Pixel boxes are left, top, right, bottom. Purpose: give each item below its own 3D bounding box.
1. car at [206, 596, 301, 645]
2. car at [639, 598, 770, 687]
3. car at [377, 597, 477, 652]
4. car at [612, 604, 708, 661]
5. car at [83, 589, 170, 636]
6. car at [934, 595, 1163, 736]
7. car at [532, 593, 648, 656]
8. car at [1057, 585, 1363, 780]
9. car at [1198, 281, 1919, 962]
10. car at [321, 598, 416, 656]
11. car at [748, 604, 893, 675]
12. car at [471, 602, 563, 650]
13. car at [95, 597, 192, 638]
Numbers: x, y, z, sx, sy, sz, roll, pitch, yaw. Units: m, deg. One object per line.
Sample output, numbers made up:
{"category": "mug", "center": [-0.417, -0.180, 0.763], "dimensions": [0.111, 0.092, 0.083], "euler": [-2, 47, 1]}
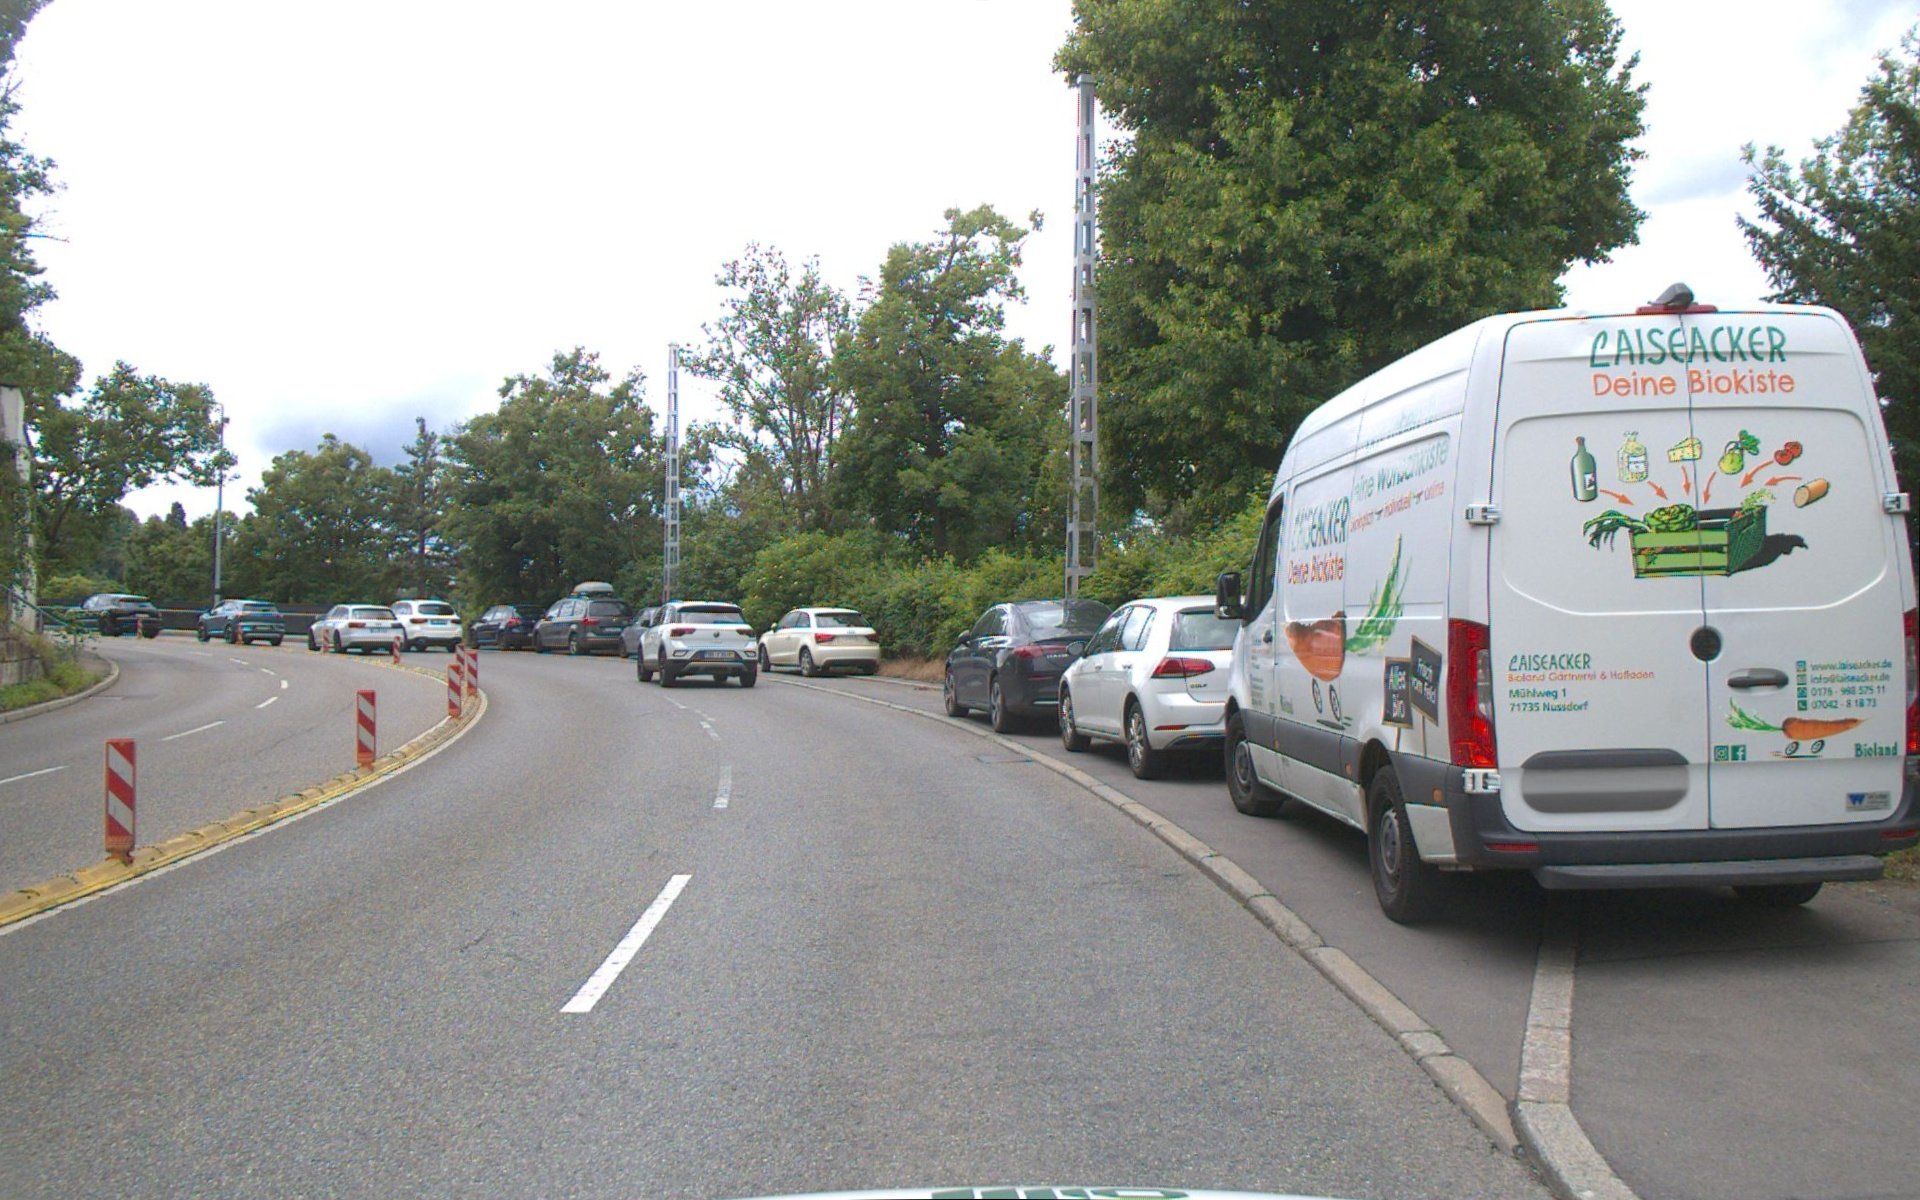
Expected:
{"category": "car", "center": [-25.098, 0.707, 58.692], "dimensions": [1.981, 1.568, 3.952], "euler": [4, -2, -40]}
{"category": "car", "center": [-4.921, 0.761, 31.476], "dimensions": [1.839, 1.563, 3.783], "euler": [0, 0, -19]}
{"category": "car", "center": [-17.349, 0.783, 53.740], "dimensions": [1.976, 1.614, 3.952], "euler": [4, -2, -34]}
{"category": "car", "center": [-8.393, 0.906, 46.023], "dimensions": [1.620, 1.490, 3.967], "euler": [2, -1, -25]}
{"category": "car", "center": [-33.107, 0.476, 65.680], "dimensions": [3.932, 1.719, 1.809], "euler": [1, -3, 44]}
{"category": "car", "center": [0.924, 0.701, 20.022], "dimensions": [1.670, 1.489, 4.650], "euler": [0, 0, -12]}
{"category": "car", "center": [-11.363, 0.724, 50.592], "dimensions": [1.784, 1.803, 4.548], "euler": [3, -1, -36]}
{"category": "car", "center": [2.073, 0.649, 14.806], "dimensions": [1.669, 1.490, 3.827], "euler": [0, 0, -8]}
{"category": "car", "center": [2.857, 0.083, 9.282], "dimensions": [2.042, 2.567, 5.843], "euler": [-2, 0, -1]}
{"category": "car", "center": [-17.821, 0.796, 49.734], "dimensions": [1.887, 1.601, 3.958], "euler": [4, -2, -31]}
{"category": "car", "center": [-3.117, 0.829, 36.302], "dimensions": [1.757, 1.443, 3.962], "euler": [-1, 0, -28]}
{"category": "car", "center": [-14.885, 0.863, 55.415], "dimensions": [1.646, 1.513, 3.984], "euler": [3, -1, -36]}
{"category": "car", "center": [-35.205, 0.757, 71.339], "dimensions": [3.450, 1.552, 1.700], "euler": [2, -2, 16]}
